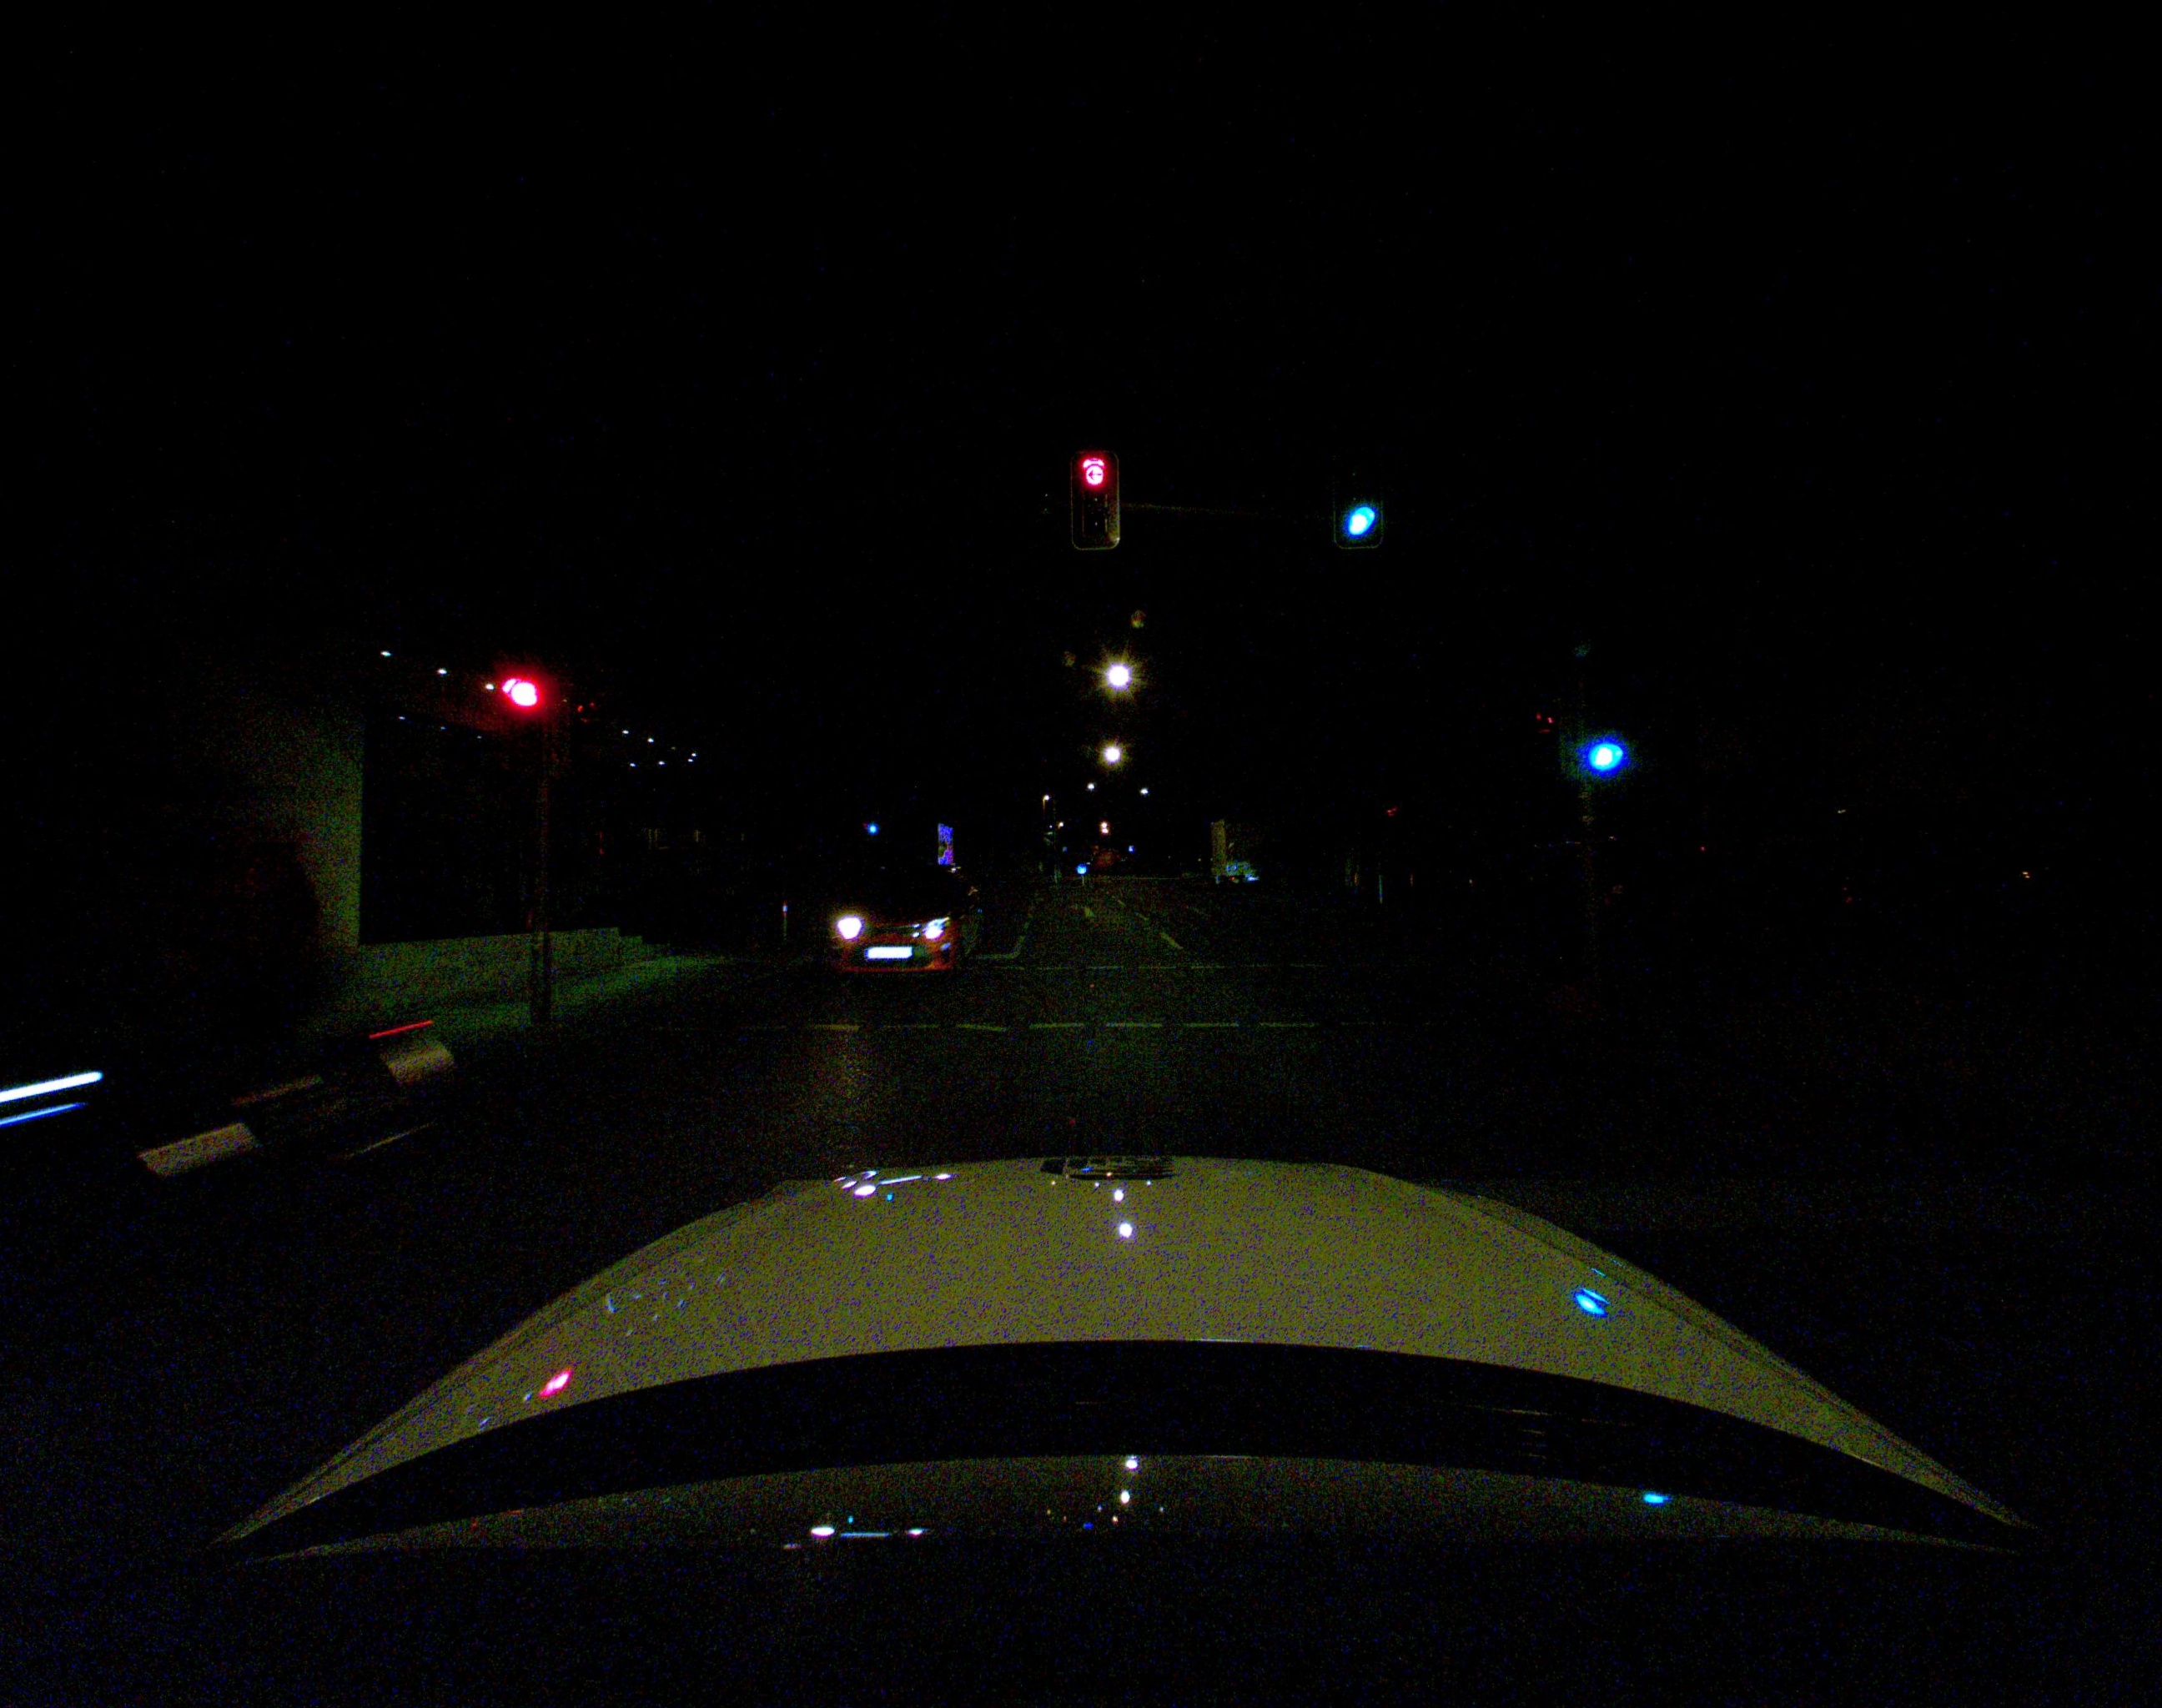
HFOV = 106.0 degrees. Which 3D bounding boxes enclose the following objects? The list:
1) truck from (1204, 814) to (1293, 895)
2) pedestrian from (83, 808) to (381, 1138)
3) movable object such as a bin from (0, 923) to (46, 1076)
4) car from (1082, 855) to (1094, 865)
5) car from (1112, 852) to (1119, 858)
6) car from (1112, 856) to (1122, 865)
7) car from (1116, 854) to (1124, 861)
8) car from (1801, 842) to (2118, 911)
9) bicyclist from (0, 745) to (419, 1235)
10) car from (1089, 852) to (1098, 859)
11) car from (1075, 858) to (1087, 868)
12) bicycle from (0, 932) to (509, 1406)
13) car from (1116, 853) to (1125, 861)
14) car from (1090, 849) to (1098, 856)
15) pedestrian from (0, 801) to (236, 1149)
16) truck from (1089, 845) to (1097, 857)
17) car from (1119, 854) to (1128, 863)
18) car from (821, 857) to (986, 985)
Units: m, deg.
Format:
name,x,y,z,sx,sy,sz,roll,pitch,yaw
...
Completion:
name,x,y,z,sx,sy,sz,roll,pitch,yaw
truck,6.962,0.035,34.617,2.738,3.110,6.262,0,0,2
pedestrian,-4.957,0.636,4.849,0.673,1.745,1.029,-1,-1,0
movable object such as a bin,-7.926,1.035,5.703,0.633,1.049,0.657,-1,-1,19
car,1.195,0.985,134.628,1.808,1.684,4.002,0,0,2
car,8.183,0.212,191.556,1.628,1.452,3.486,0,0,2
car,6.147,1.032,138.389,1.587,1.476,3.655,-1,0,2
car,7.606,0.682,159.330,1.628,1.452,3.486,0,0,2
car,17.323,0.448,16.272,4.107,1.280,1.770,-1,-1,9
bicyclist,-3.311,0.460,3.187,0.688,1.637,0.896,-1,-1,1
car,2.431,0.286,160.754,1.809,1.491,4.000,0,0,0
car,0.064,1.319,118.415,1.628,1.452,3.486,0,0,2
bicycle,-3.320,0.970,3.218,0.693,1.149,1.951,-1,-1,2
car,7.470,0.621,153.144,1.628,1.452,3.486,0,0,2
car,2.996,-0.360,187.156,1.809,1.491,4.000,0,0,0
pedestrian,-5.764,0.614,4.635,0.739,1.745,1.103,-1,-1,0
truck,3.138,-0.751,209.809,2.079,2.848,5.831,0,0,0
car,7.484,0.798,143.400,1.628,1.452,3.486,0,0,2
car,-2.333,0.816,11.503,1.576,1.501,3.395,-1,0,0
